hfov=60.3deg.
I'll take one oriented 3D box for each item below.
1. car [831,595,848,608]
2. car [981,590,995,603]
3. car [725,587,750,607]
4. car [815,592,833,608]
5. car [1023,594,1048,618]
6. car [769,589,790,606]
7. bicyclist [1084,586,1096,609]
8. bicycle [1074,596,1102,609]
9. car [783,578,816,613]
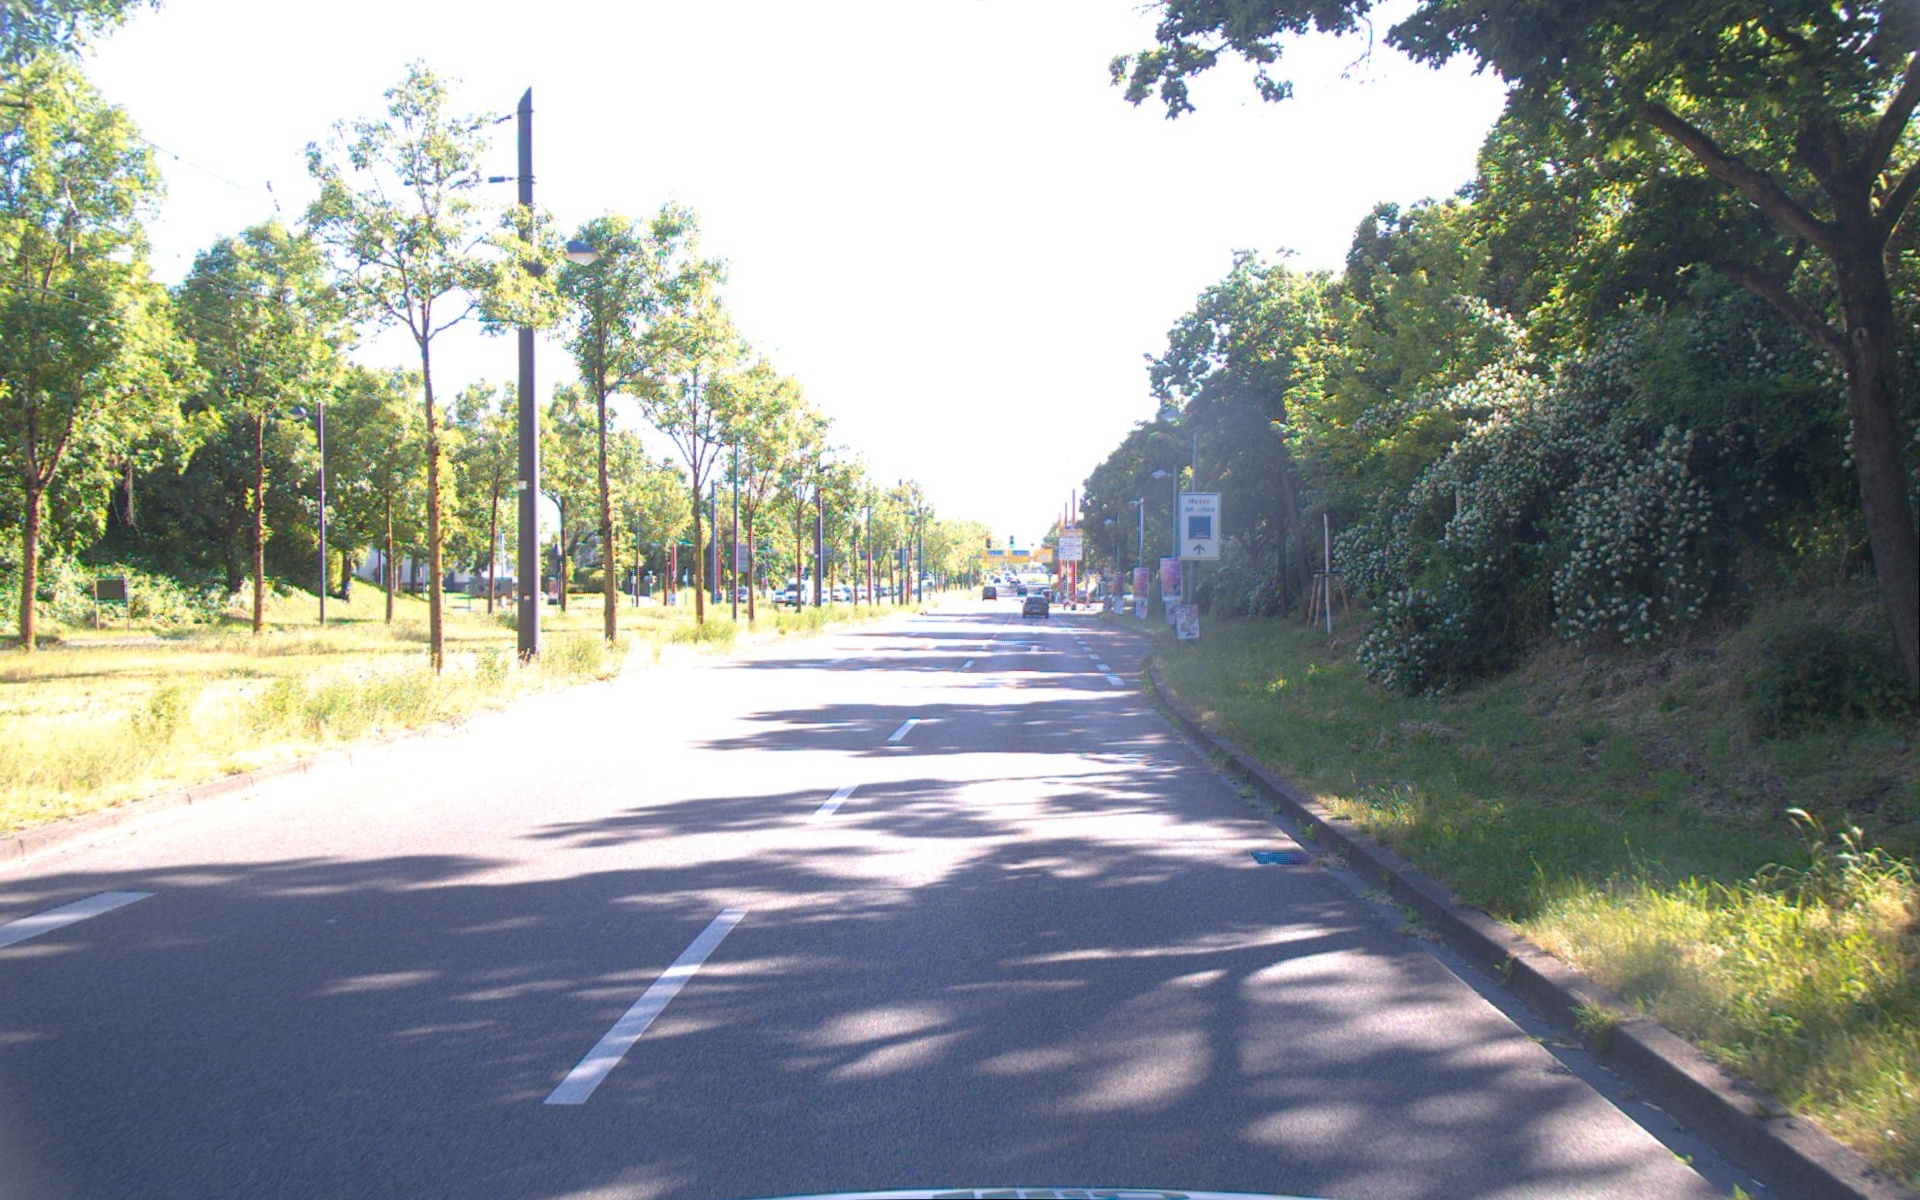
[{"bbox_3d":[-13.826,0.166,190.534,1.597,1.471,4.192,0,0,0],"label":"car"},{"bbox_3d":[3.428,-0.401,203.286,1.600,1.524,4.236,0,0,3],"label":"car"},{"bbox_3d":[-19.779,-0.289,147.200,1.597,1.710,4.192,0,0,0],"label":"car"},{"bbox_3d":[-14.907,-0.057,181.594,1.597,1.710,4.192,0,0,0],"label":"car"},{"bbox_3d":[4.997,0.354,109.241,1.600,1.524,4.236,0,0,3],"label":"car"},{"bbox_3d":[-18.783,-0.305,172.182,1.597,1.710,4.192,0,0,0],"label":"car"},{"bbox_3d":[11.341,-0.231,144.390,0.988,2.042,0.812,0,0,2],"label":"bicyclist"},{"bbox_3d":[11.166,0.220,144.395,2.364,1.129,0.812,0,0,2],"label":"bicycle"},{"bbox_3d":[-15.314,-0.427,157.958,2.414,3.296,6.134,1,0,0],"label":"car"}]
